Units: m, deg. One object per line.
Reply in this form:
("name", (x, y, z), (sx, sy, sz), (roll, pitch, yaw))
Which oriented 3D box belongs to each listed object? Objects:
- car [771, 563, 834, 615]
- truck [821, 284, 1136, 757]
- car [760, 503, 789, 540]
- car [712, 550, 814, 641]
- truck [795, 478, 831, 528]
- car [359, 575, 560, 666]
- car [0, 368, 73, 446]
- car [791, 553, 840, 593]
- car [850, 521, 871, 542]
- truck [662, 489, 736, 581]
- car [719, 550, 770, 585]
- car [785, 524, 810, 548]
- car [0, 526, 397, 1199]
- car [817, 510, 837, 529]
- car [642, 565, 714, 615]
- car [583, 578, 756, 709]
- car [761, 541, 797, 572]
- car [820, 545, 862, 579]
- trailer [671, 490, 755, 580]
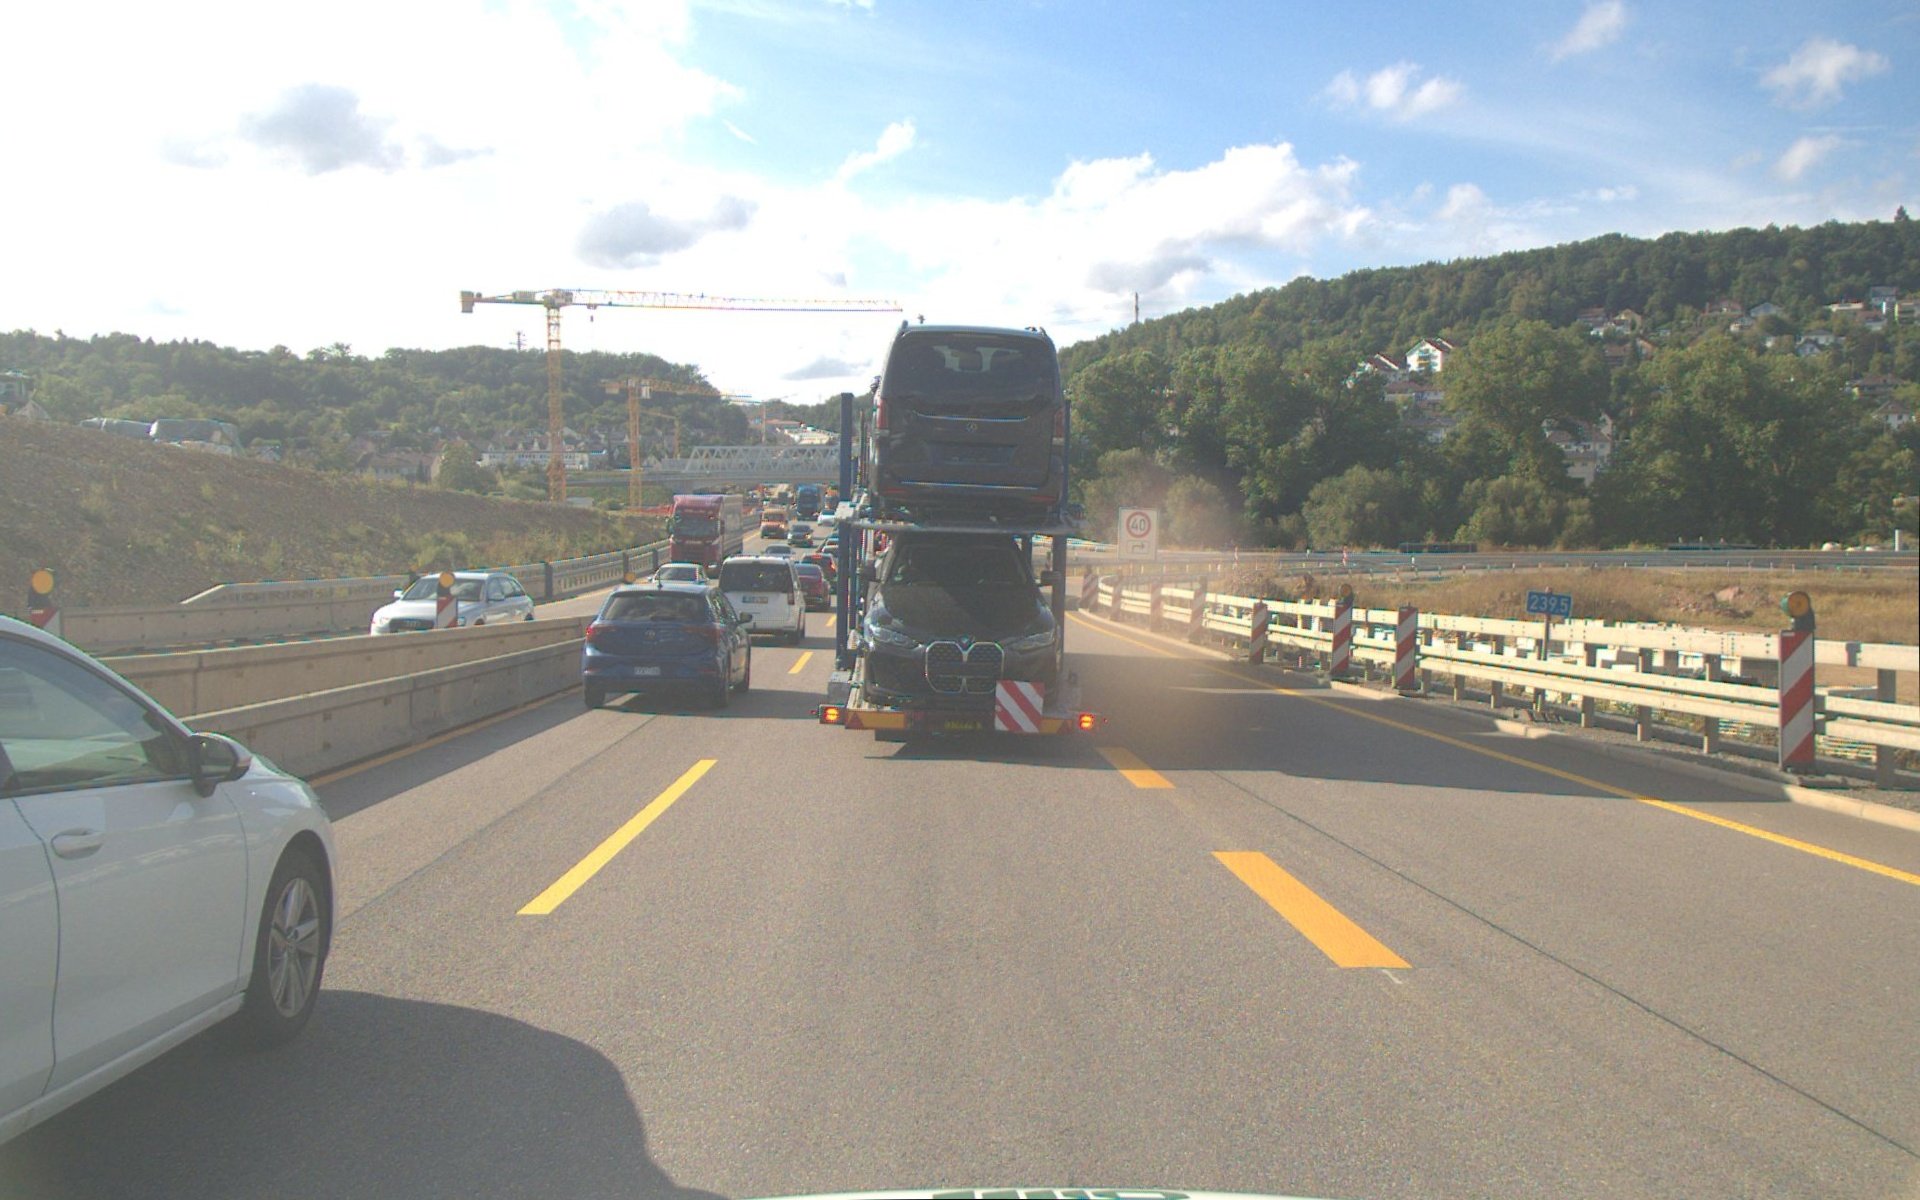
("car", (-5.151, -0.337, 54.536), (1.954, 1.584, 4.396), (1, -1, -5))
("truck", (-0.256, -0.819, 23.593), (2.698, 4.023, 18.881), (0, 1, -3))
("car", (-15.708, -6.614, 140.341), (1.953, 2.929, 6.062), (1, 1, -2))
("car", (-4.217, -0.072, 35.982), (1.786, 1.823, 3.999), (1, -1, -1))
("truck", (-17.449, -11.434, 196.623), (2.764, 4.872, 13.055), (1, -1, 1))
("car", (-8.819, 0.314, 29.575), (1.813, 1.465, 4.561), (1, 1, 5))
("car", (-35.522, -7.166, 61.772), (1.954, 2.177, 5.318), (-4, 0, -3))
("car", (-6.011, -1.131, 69.122), (1.954, 1.579, 3.997), (1, 1, -4))
("car", (-9.013, -6.202, 149.901), (1.808, 1.677, 4.501), (1, 1, -4))
("truck", (-13.366, -3.273, 85.204), (2.855, 4.463, 6.285), (2, 1, -2))
("car", (-9.625, -1.437, 74.186), (1.784, 1.465, 4.613), (1, 1, -1))
("car", (-12.374, -4.869, 126.234), (1.808, 1.677, 4.232), (1, 1, -5))
("car", (-2.883, 0.642, 3.713), (1.734, 1.517, 4.515), (-2, -1, -1))
("car", (-13.745, -8.327, 171.334), (1.954, 1.713, 3.998), (1, 0, -3))
("car", (-8.775, -0.325, 51.734), (1.719, 1.465, 3.803), (1, 1, -2))
("car", (-3.521, 0.469, 20.648), (1.688, 1.446, 3.997), (0, 1, -4))
("car", (-10.160, -2.413, 93.003), (1.808, 1.677, 4.501), (1, 1, -4))
("car", (-6.213, -1.983, 86.939), (1.953, 1.695, 4.000), (1, 1, -1))
("trailer", (-13.586, -3.486, 92.157), (2.917, 4.499, 13.812), (2, 1, -2))
